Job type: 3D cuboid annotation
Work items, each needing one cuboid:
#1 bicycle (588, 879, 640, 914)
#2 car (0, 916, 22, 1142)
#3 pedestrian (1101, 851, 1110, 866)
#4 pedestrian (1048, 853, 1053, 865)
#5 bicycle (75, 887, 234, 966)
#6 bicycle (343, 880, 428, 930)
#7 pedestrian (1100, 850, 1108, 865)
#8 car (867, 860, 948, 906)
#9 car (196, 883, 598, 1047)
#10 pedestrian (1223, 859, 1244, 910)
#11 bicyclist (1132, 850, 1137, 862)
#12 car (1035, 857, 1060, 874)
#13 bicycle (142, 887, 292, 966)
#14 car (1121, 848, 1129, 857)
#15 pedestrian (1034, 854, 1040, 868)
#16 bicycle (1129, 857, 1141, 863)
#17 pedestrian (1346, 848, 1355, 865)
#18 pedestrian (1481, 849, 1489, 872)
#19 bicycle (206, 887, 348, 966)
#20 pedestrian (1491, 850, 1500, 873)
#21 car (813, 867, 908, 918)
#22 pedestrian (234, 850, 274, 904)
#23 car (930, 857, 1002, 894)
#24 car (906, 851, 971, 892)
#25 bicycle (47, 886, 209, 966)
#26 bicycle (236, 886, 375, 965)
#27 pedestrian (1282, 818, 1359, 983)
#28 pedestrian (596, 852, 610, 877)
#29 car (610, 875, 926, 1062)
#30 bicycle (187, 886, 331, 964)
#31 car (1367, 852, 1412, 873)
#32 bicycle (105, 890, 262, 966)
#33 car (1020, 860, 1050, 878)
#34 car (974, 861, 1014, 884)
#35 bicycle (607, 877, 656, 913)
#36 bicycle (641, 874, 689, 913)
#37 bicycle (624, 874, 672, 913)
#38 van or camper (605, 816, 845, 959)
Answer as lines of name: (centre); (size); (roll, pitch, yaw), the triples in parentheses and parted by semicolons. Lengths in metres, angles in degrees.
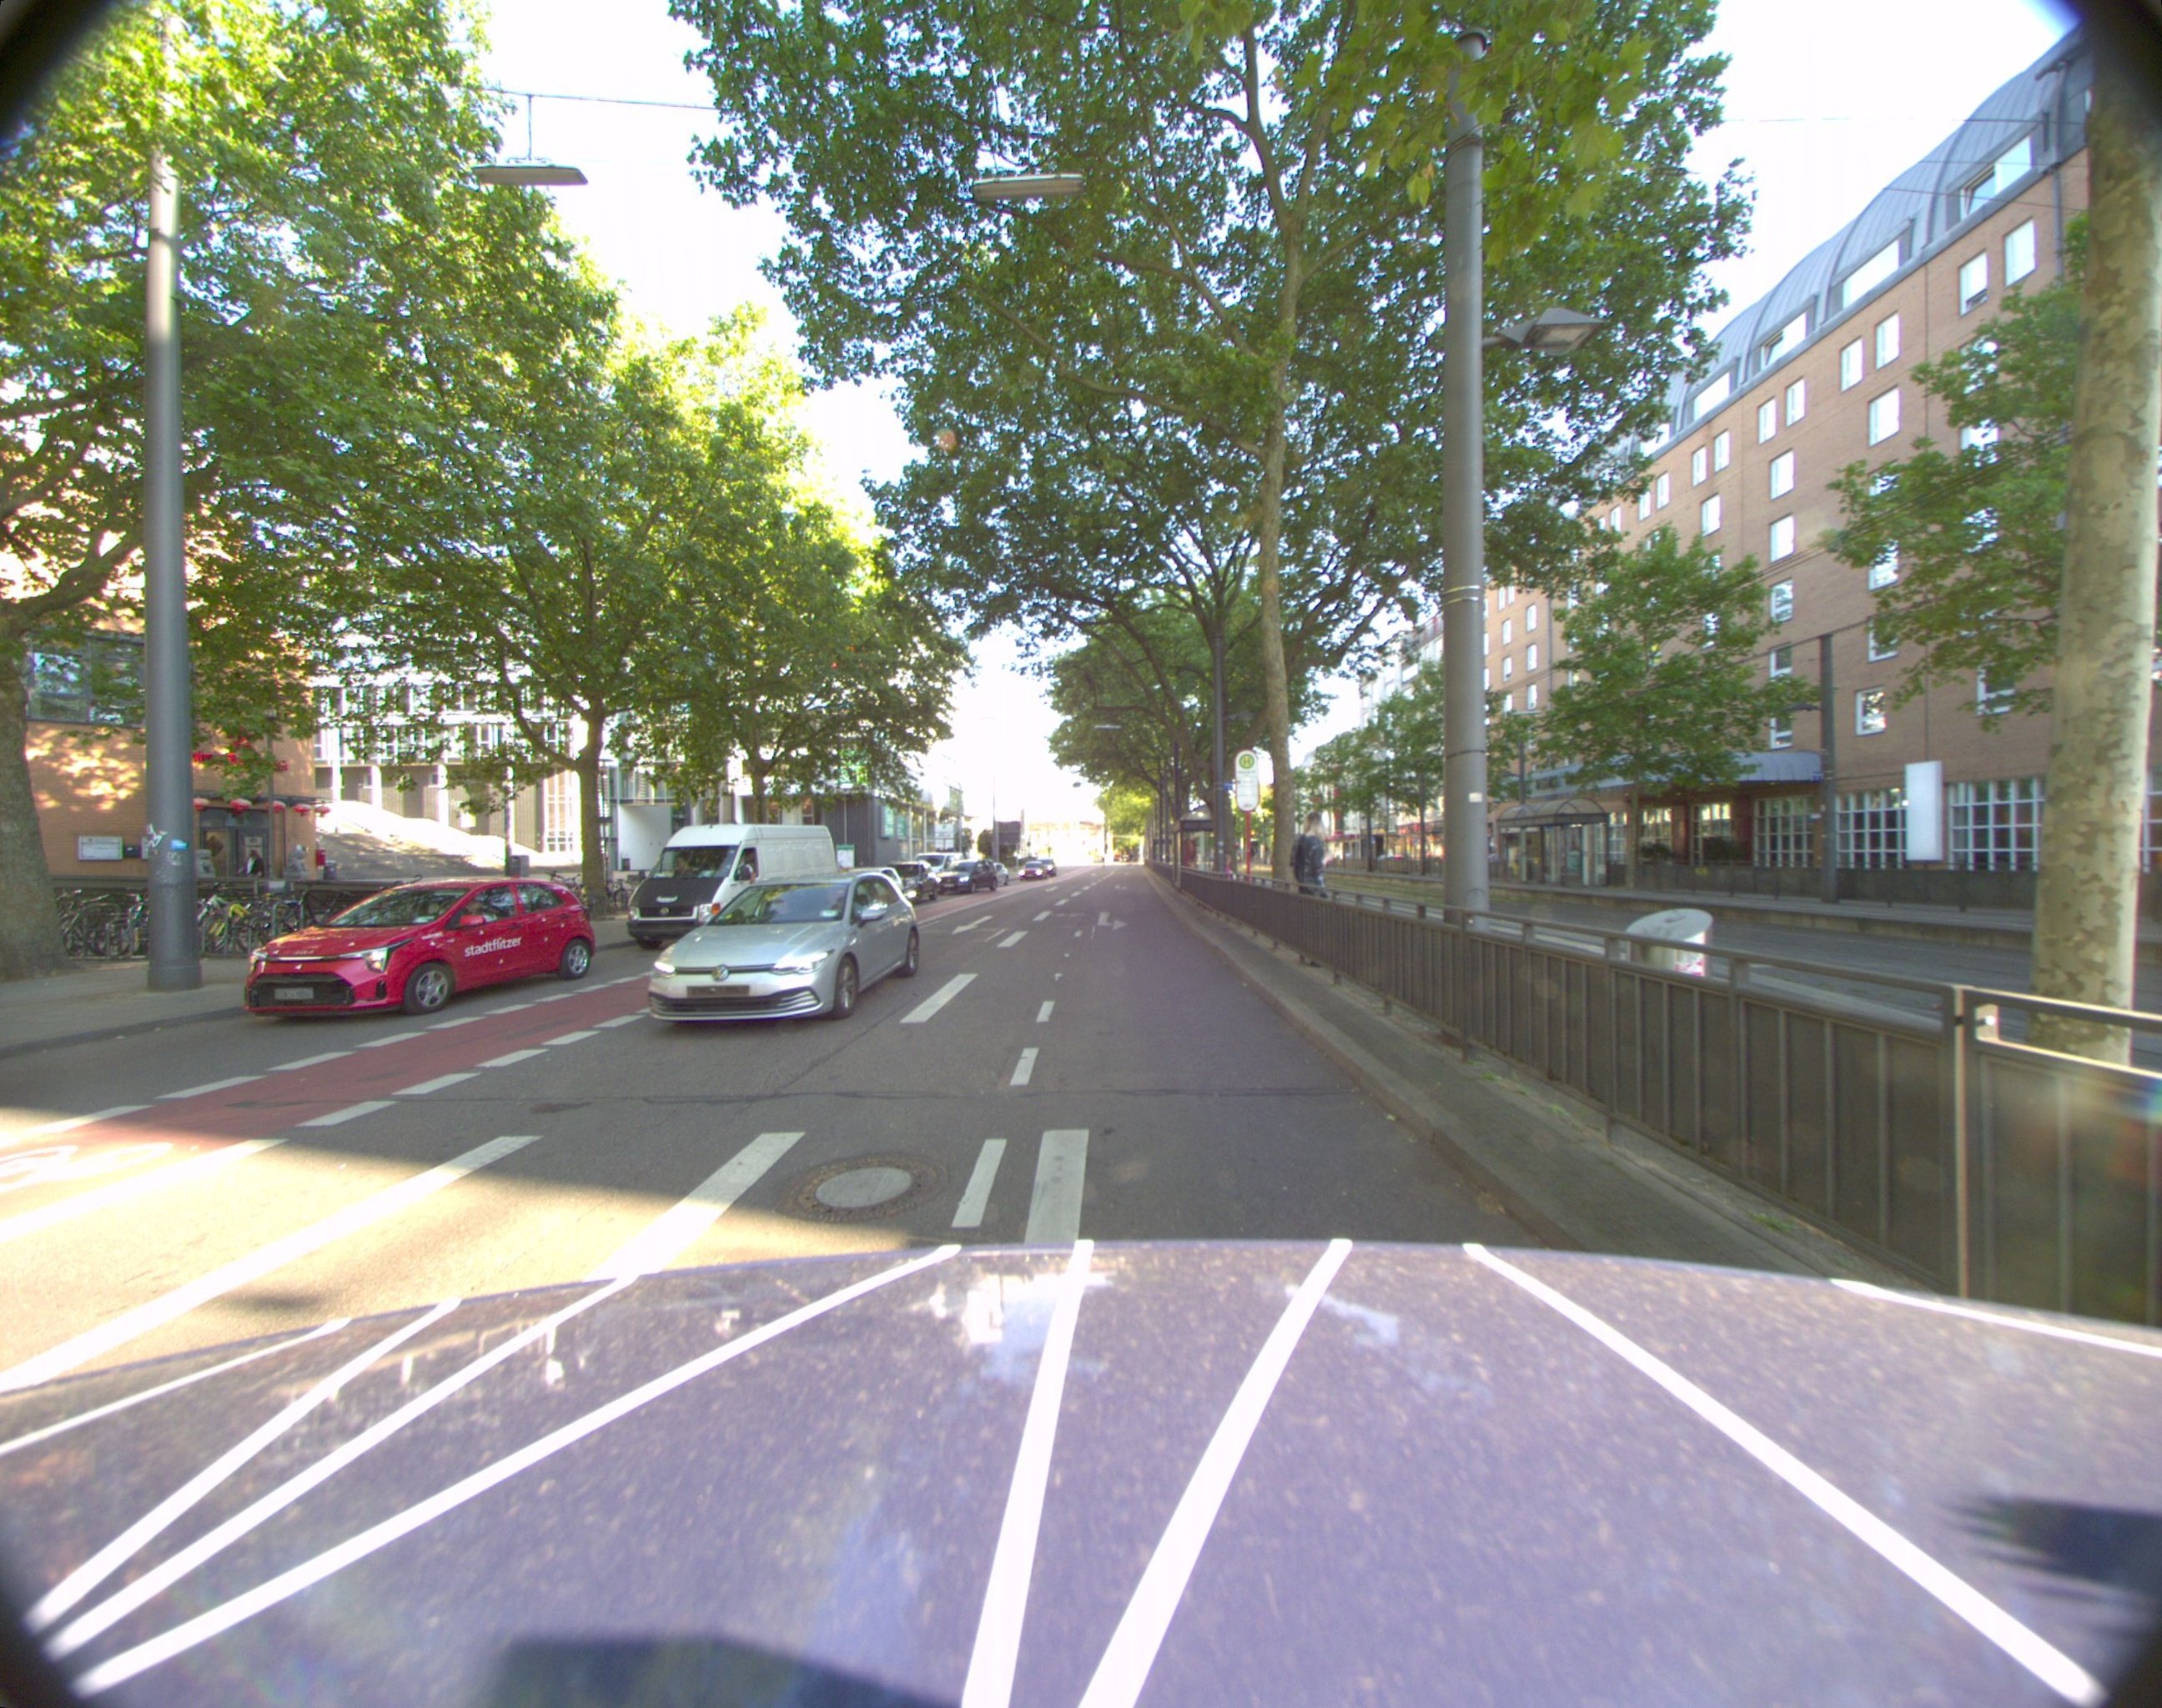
bicycle: (-15.220, 1.364, 24.798); (0.516, 1.027, 1.850); (0, 0, 1)
car: (-7.991, 1.168, 2.960); (1.743, 1.476, 4.251); (-1, 0, 0)
pedestrian: (3.428, 0.661, 105.746); (0.832, 2.002, 0.771); (-3, 2, -44)
pedestrian: (-4.139, 0.672, 102.365); (0.611, 1.644, 0.583); (-1, 1, 1)
bicycle: (-15.924, 1.203, 13.140); (0.458, 1.187, 1.850); (0, 0, 1)
bicycle: (-17.883, 1.286, 19.596); (0.517, 1.187, 1.790); (0, 0, 1)
pedestrian: (3.303, 0.507, 108.098); (0.771, 2.002, 0.832); (-1, 2, 43)
car: (-6.699, 1.083, 29.828); (1.818, 1.610, 4.229); (-1, 0, 5)
car: (-7.950, 1.177, 9.374); (1.606, 1.449, 3.651); (-1, 0, 0)
pedestrian: (3.932, 0.776, 19.627); (0.500, 1.308, 0.419); (0, 1, 8)
bicyclist: (8.015, 0.304, 113.362); (0.714, 1.707, 0.673); (-1, 1, -2)
car: (-2.984, 1.040, 67.724); (1.801, 1.438, 4.001); (0, 0, 3)
bicycle: (-14.843, 1.199, 13.129); (0.447, 1.187, 1.850); (0, 0, 1)
car: (11.002, -0.398, 189.893); (1.998, 2.002, 4.000); (-1, 0, 2)
pedestrian: (-5.227, 0.830, 89.972); (0.648, 1.644, 0.643); (-1, 1, 1)
bicycle: (8.054, 0.832, 113.363); (1.670, 0.879, 0.581); (-1, 1, -1)
pedestrian: (31.521, 0.284, 88.788); (0.806, 2.002, 0.763); (-1, 1, 1)
pedestrian: (27.243, 0.433, 51.275); (0.438, 1.497, 0.659); (0, 1, 23)
bicycle: (-13.821, 1.204, 13.138); (0.448, 1.187, 1.850); (0, 0, 1)
pedestrian: (27.885, 0.514, 51.095); (0.438, 1.511, 0.659); (0, 1, 23)
car: (-7.052, 1.189, 24.700); (1.682, 1.420, 4.001); (-1, 0, 3)
pedestrian: (-31.282, 0.854, 28.742); (0.875, 2.025, 0.586); (0, 1, 6)
car: (-5.530, 1.014, 37.111); (1.964, 1.610, 4.335); (-1, 0, 14)
car: (-7.483, 0.861, 40.442); (1.965, 1.983, 4.960); (-1, 0, 7)
bicycle: (-16.387, 1.197, 13.143); (0.435, 1.187, 1.850); (0, 0, 1)
bicycle: (-13.318, 1.193, 13.133); (0.482, 1.187, 1.850); (0, 0, 1)
pedestrian: (2.851, 0.522, 9.067); (0.623, 1.873, 0.605); (-2, 3, -17)
pedestrian: (-29.538, 0.637, 46.950); (0.719, 1.549, 0.639); (-1, 1, -35)
car: (-3.120, 1.052, 8.577); (1.733, 1.432, 4.000); (-2, 0, 2)
bicycle: (-14.326, 1.200, 13.329); (0.484, 1.187, 1.850); (0, 0, 1)
car: (22.820, 0.597, 56.388); (1.760, 1.479, 4.309); (-1, 0, 2)
bicycle: (-15.426, 1.236, 13.138); (0.485, 1.118, 1.850); (0, 0, 1)
car: (-3.574, 1.149, 59.648); (1.801, 1.369, 4.001); (0, 0, 3)
car: (-5.490, 1.164, 48.383); (1.801, 1.369, 4.001); (0, 0, 3)
bicycle: (-14.659, 1.326, 24.823); (0.522, 1.088, 1.797); (0, 0, 1)
bicycle: (-13.572, 1.268, 24.845); (0.522, 1.187, 1.850); (0, 0, 1)
bicycle: (-14.115, 1.261, 24.824); (0.495, 1.187, 1.850); (0, 0, 1)
van or camper: (-7.522, 0.608, 17.163); (1.998, 2.563, 6.575); (-2, 0, 3)
